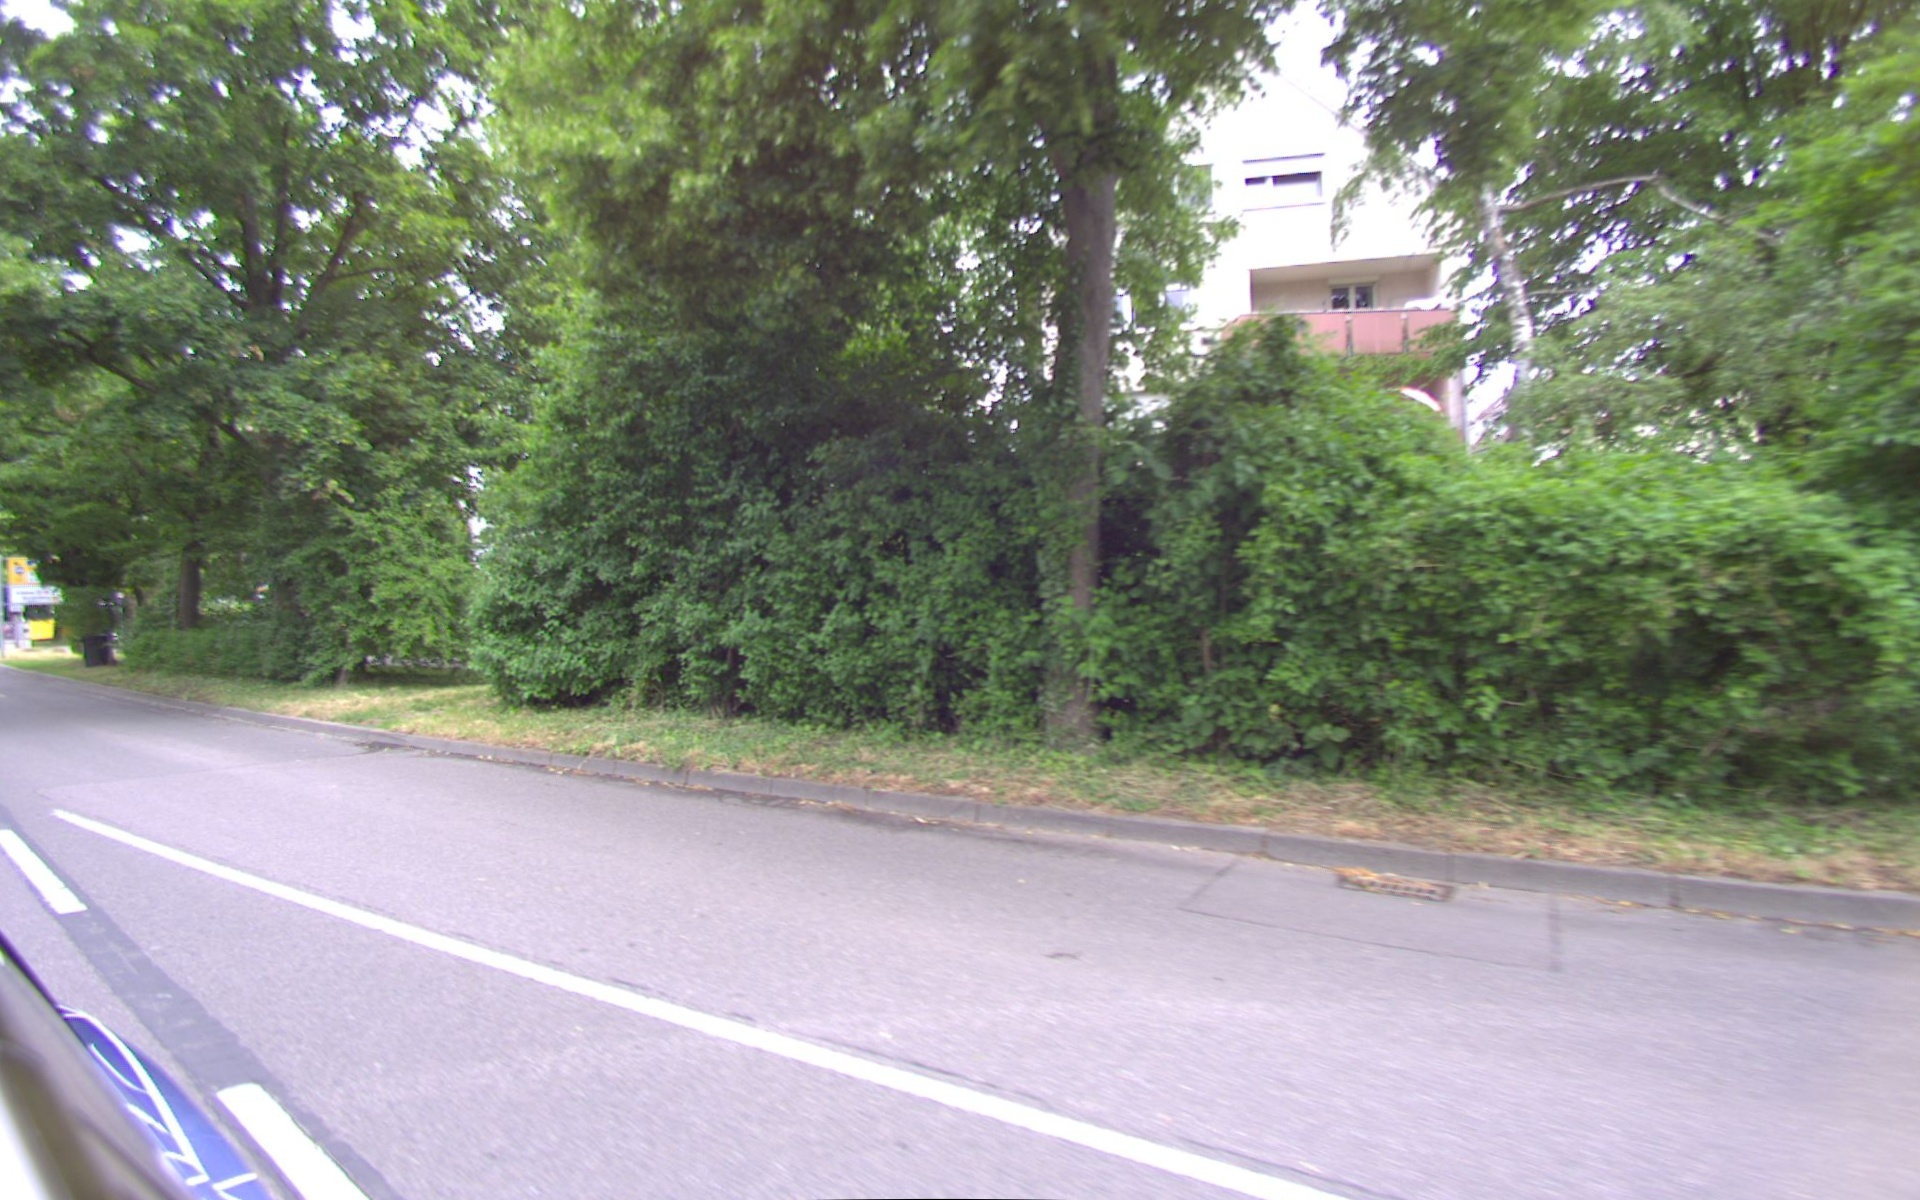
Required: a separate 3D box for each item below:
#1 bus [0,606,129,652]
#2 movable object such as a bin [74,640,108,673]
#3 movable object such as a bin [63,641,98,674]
[{"bbox_3d":[-69.548,2.143,78.899,3.008,3.031,8.440,-4,1,-5],"label":"bus"},{"bbox_3d":[-25.746,1.670,29.992,0.610,0.885,0.595,-5,1,-28],"label":"movable object such as a bin"},{"bbox_3d":[-25.136,1.644,28.940,0.590,0.851,0.580,-5,1,-28],"label":"movable object such as a bin"}]
